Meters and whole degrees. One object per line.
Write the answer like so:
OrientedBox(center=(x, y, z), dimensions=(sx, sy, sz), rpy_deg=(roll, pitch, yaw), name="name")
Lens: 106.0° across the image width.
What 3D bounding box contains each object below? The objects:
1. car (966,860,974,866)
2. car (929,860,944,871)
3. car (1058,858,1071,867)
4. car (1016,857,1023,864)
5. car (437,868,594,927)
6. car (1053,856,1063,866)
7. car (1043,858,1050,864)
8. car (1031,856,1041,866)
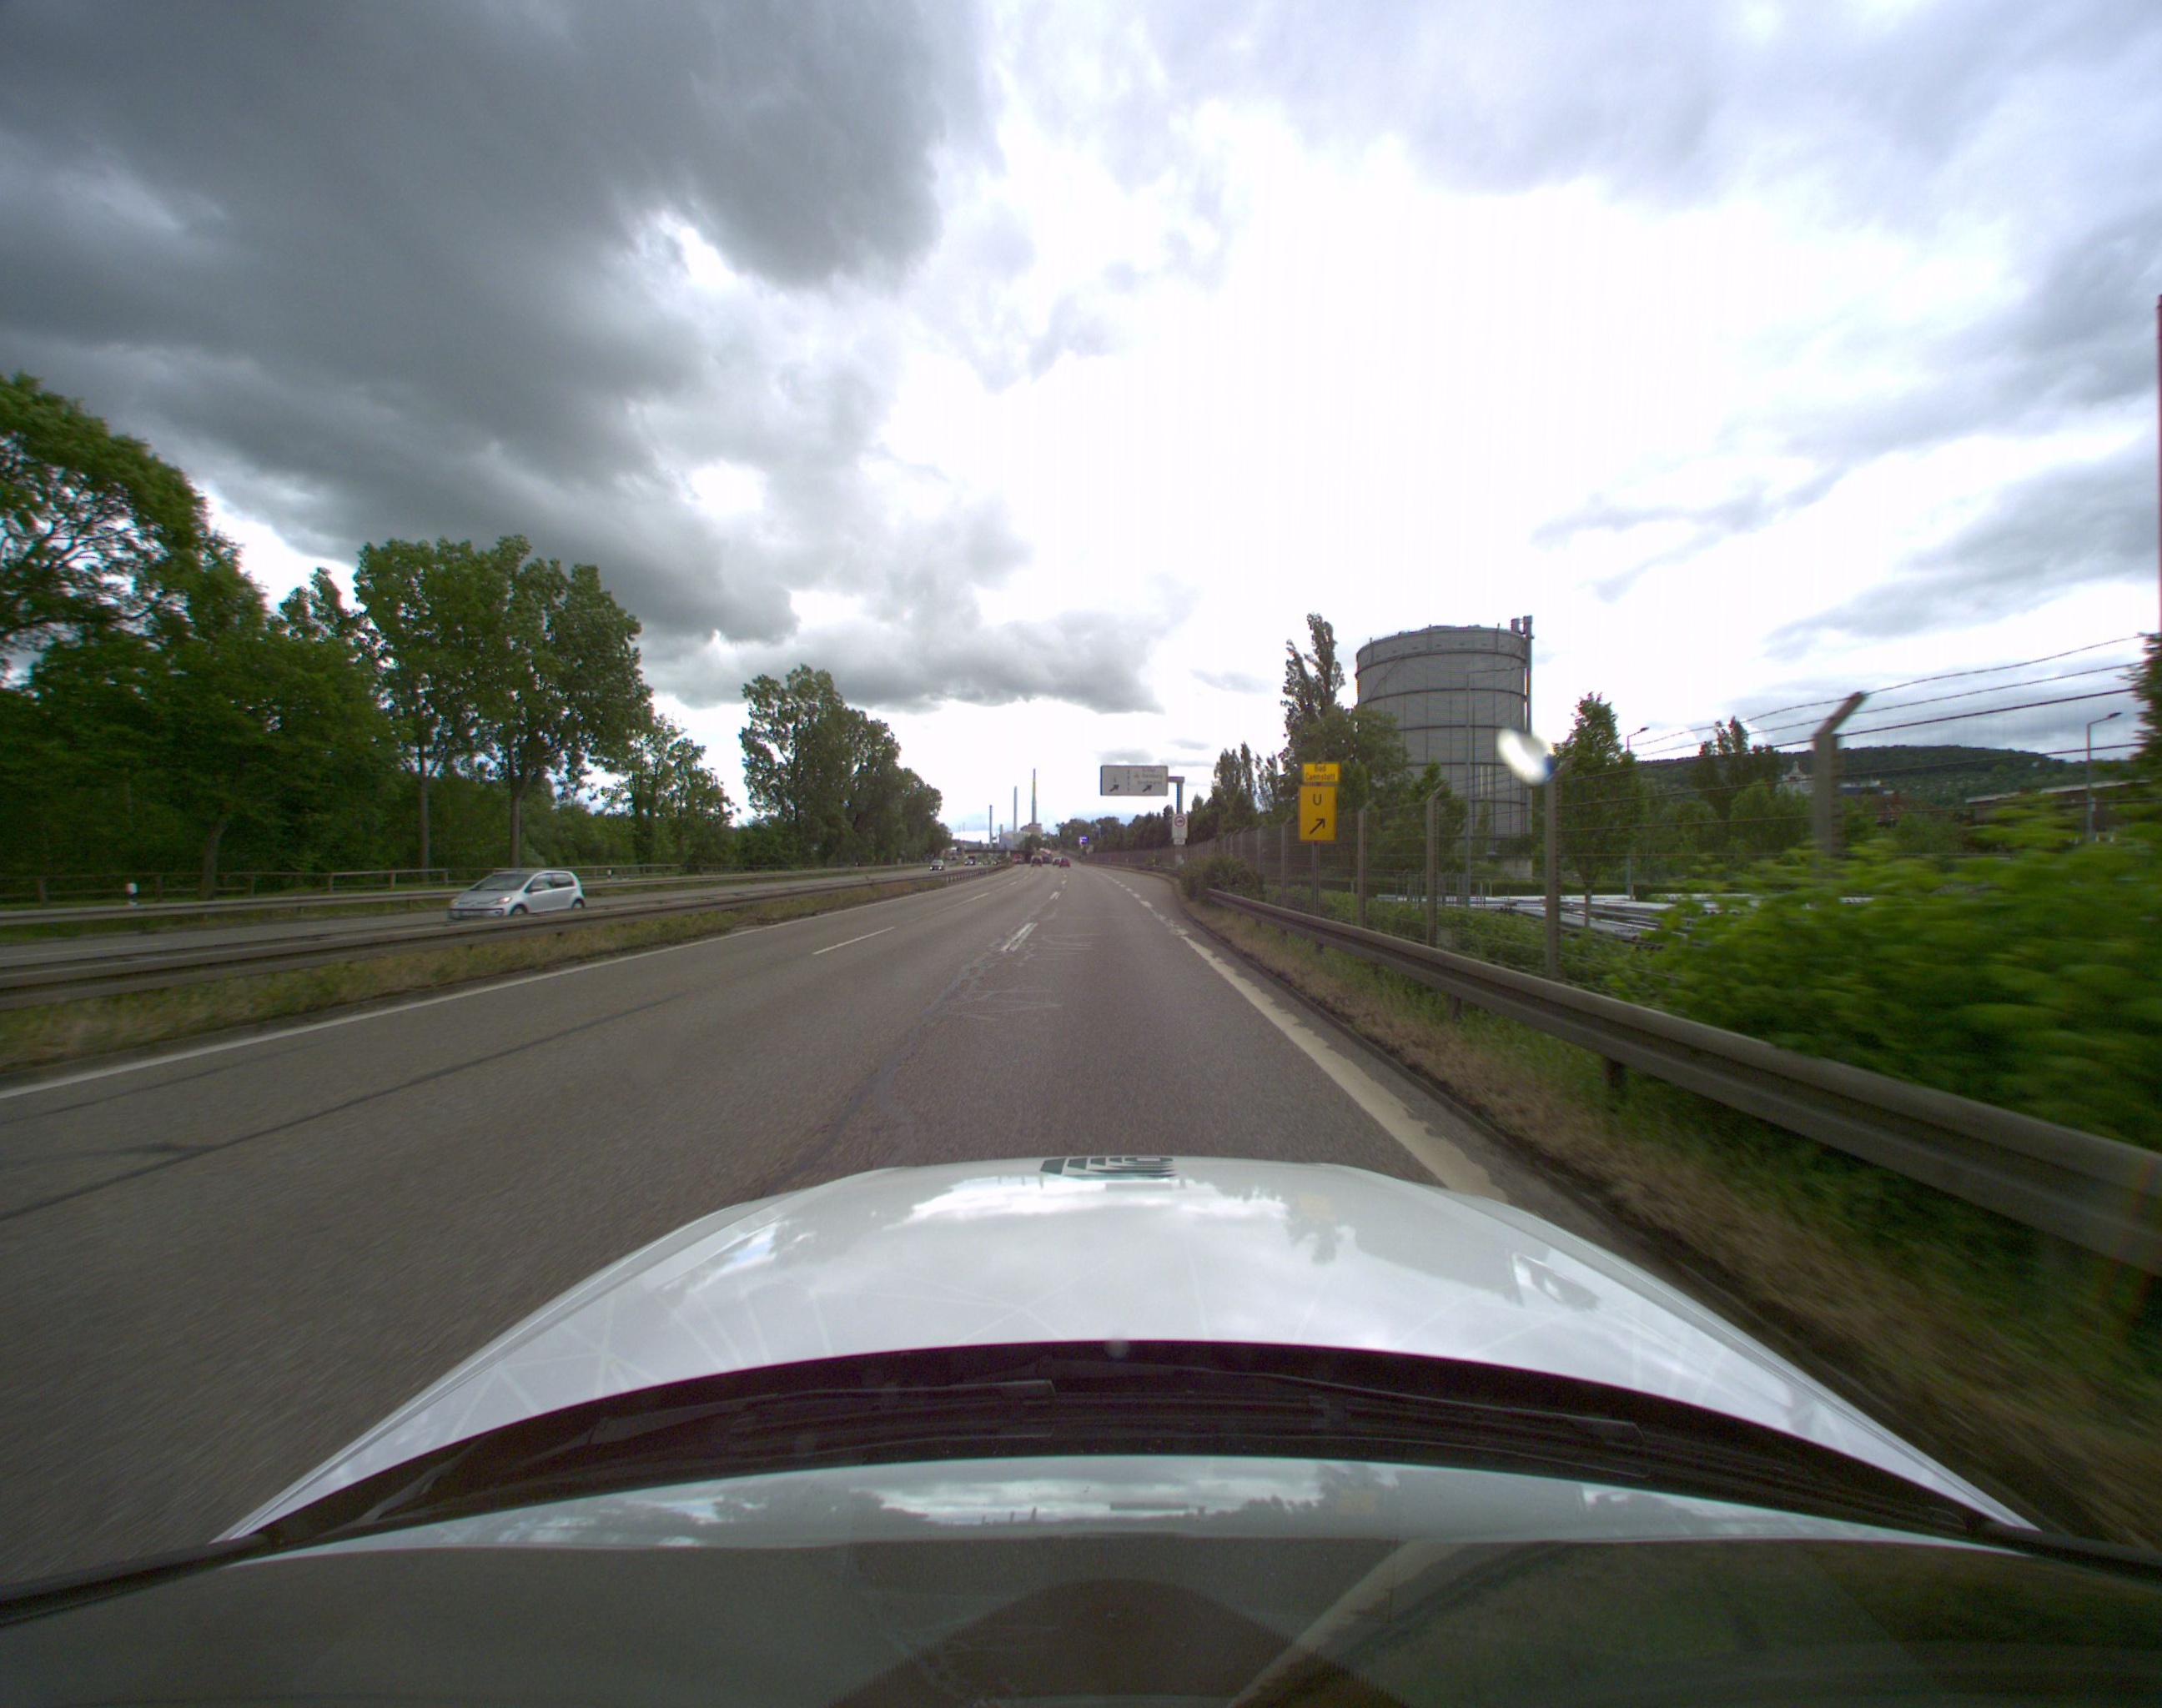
OrientedBox(center=(-26.213, 2.170, 192.728), dimensions=(1.696, 1.413, 4.627), rpy_deg=(-1, 0, -6), name="car")
OrientedBox(center=(-21.161, 1.647, 119.278), dimensions=(1.695, 1.413, 4.629), rpy_deg=(-1, 0, -5), name="car")
OrientedBox(center=(-2.638, 1.355, 130.380), dimensions=(1.969, 1.423, 4.897), rpy_deg=(-1, 0, -1), name="car")
OrientedBox(center=(-17.663, 1.849, 232.984), dimensions=(1.697, 1.742, 4.380), rpy_deg=(-1, 0, -9), name="car")
OrientedBox(center=(-15.121, 1.102, 22.031), dimensions=(1.609, 1.386, 3.732), rpy_deg=(0, 0, 0), name="car")
OrientedBox(center=(-4.502, 1.325, 158.040), dimensions=(1.694, 1.742, 4.386), rpy_deg=(-1, 0, -4), name="car")
OrientedBox(center=(-8.417, 1.652, 198.459), dimensions=(1.695, 1.555, 4.390), rpy_deg=(-1, 0, -5), name="car")
OrientedBox(center=(-8.069, 1.302, 146.402), dimensions=(1.693, 1.742, 3.996), rpy_deg=(-1, 0, -2), name="car")
